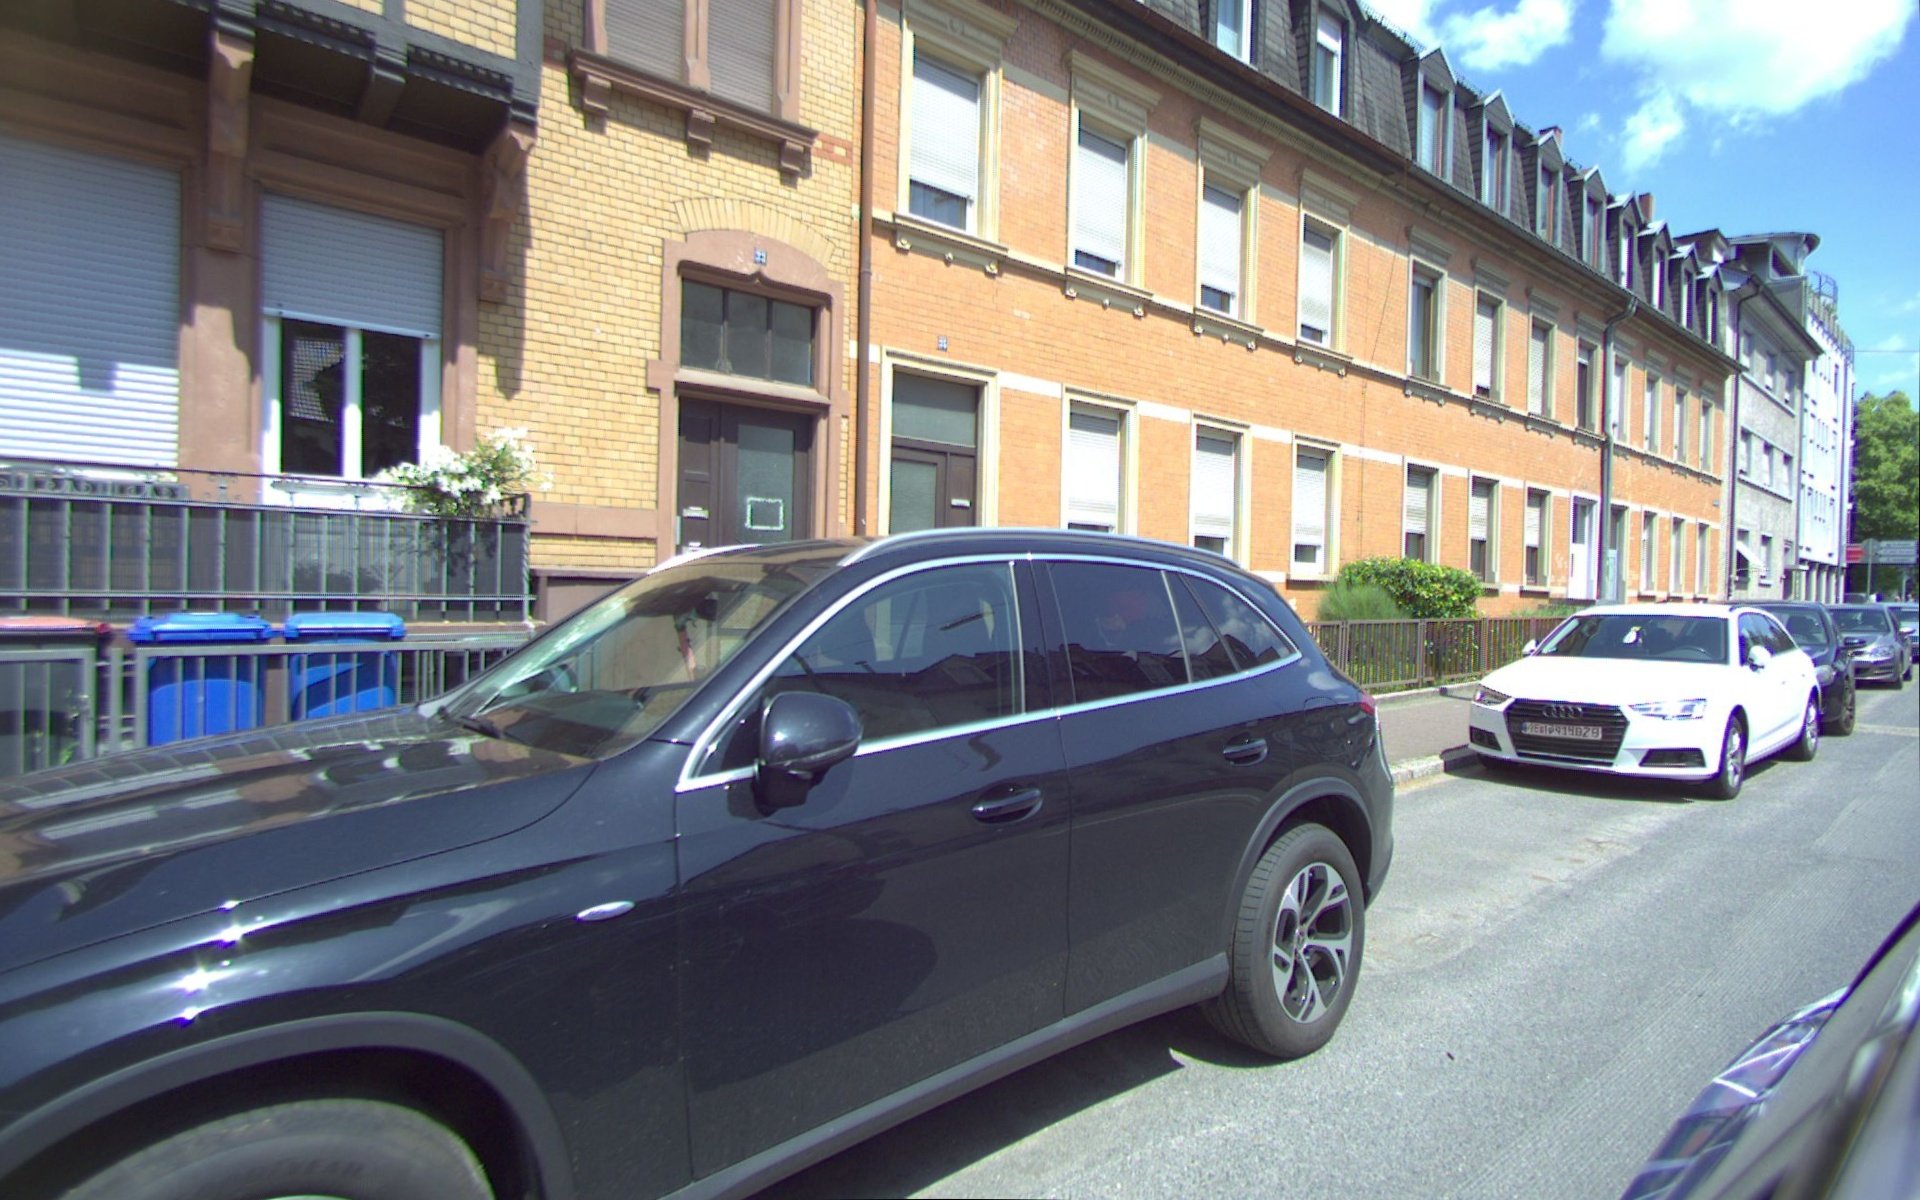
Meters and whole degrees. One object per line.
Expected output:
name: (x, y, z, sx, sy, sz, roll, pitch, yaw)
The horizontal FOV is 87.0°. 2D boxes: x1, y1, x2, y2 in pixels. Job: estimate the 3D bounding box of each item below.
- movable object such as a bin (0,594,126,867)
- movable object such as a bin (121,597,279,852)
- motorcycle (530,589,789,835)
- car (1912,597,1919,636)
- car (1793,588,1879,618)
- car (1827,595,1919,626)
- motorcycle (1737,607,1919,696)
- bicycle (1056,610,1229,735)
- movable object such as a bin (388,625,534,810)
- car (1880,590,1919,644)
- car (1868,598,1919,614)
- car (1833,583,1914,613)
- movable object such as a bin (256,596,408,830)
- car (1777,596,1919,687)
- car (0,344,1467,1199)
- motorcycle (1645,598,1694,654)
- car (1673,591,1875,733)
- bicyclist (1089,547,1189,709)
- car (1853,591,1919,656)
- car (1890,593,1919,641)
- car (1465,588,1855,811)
movable object such as a bin: (-4.163, 0.542, 4.580, 0.544, 1.102, 0.789, 1, 2, -43)
movable object such as a bin: (-3.747, 0.557, 4.977, 0.534, 1.102, 0.789, 1, 2, -43)
motorcycle: (-1.701, 0.586, 5.838, 1.334, 1.252, 0.441, 1, 3, -41)
car: (38.146, 0.648, 39.249, 1.678, 1.473, 4.076, 1, 0, 45)
car: (55.597, 0.157, 64.276, 1.983, 1.772, 3.991, 0, 2, -44)
car: (45.914, 0.513, 49.956, 1.968, 1.382, 4.584, 0, 1, -45)
motorcycle: (13.286, 0.749, 15.551, 1.091, 1.240, 1.997, 1, 0, -2)
bicycle: (1.816, 0.659, 9.889, 1.849, 1.079, 0.594, 0, 2, -41)
movable object such as a bin: (-2.870, 0.632, 5.803, 0.530, 0.918, 0.789, 1, 2, -43)
car: (27.659, 0.486, 29.064, 1.652, 1.437, 3.984, 3, 2, 44)
car: (85.579, 0.529, 92.393, 3.830, 1.375, 1.607, 2, 1, 39)
car: (72.797, -0.159, 80.678, 2.070, 2.305, 4.608, 0, 0, -43)
movable object such as a bin: (-3.345, 0.549, 5.376, 0.530, 1.102, 0.789, 1, 2, -43)
car: (16.031, 0.650, 18.073, 4.097, 1.398, 1.702, 0, 2, -44)
car: (-0.512, 0.499, 3.027, 4.544, 1.682, 1.998, 0, 3, -41)
motorcycle: (16.393, 0.579, 23.375, 1.338, 1.240, 0.597, 0, 2, -42)
car: (10.340, 0.627, 12.723, 1.648, 1.432, 4.431, 2, 2, 43)
bicyclist: (1.734, 0.250, 9.788, 0.777, 1.487, 0.534, 1, 2, -40)
car: (23.790, 0.544, 25.523, 1.852, 1.481, 4.483, 2, 2, 41)
car: (31.677, 0.554, 32.922, 4.362, 1.491, 1.714, 0, 2, -43)
car: (6.345, 0.669, 8.951, 4.508, 1.432, 1.720, 0, 2, -41)
